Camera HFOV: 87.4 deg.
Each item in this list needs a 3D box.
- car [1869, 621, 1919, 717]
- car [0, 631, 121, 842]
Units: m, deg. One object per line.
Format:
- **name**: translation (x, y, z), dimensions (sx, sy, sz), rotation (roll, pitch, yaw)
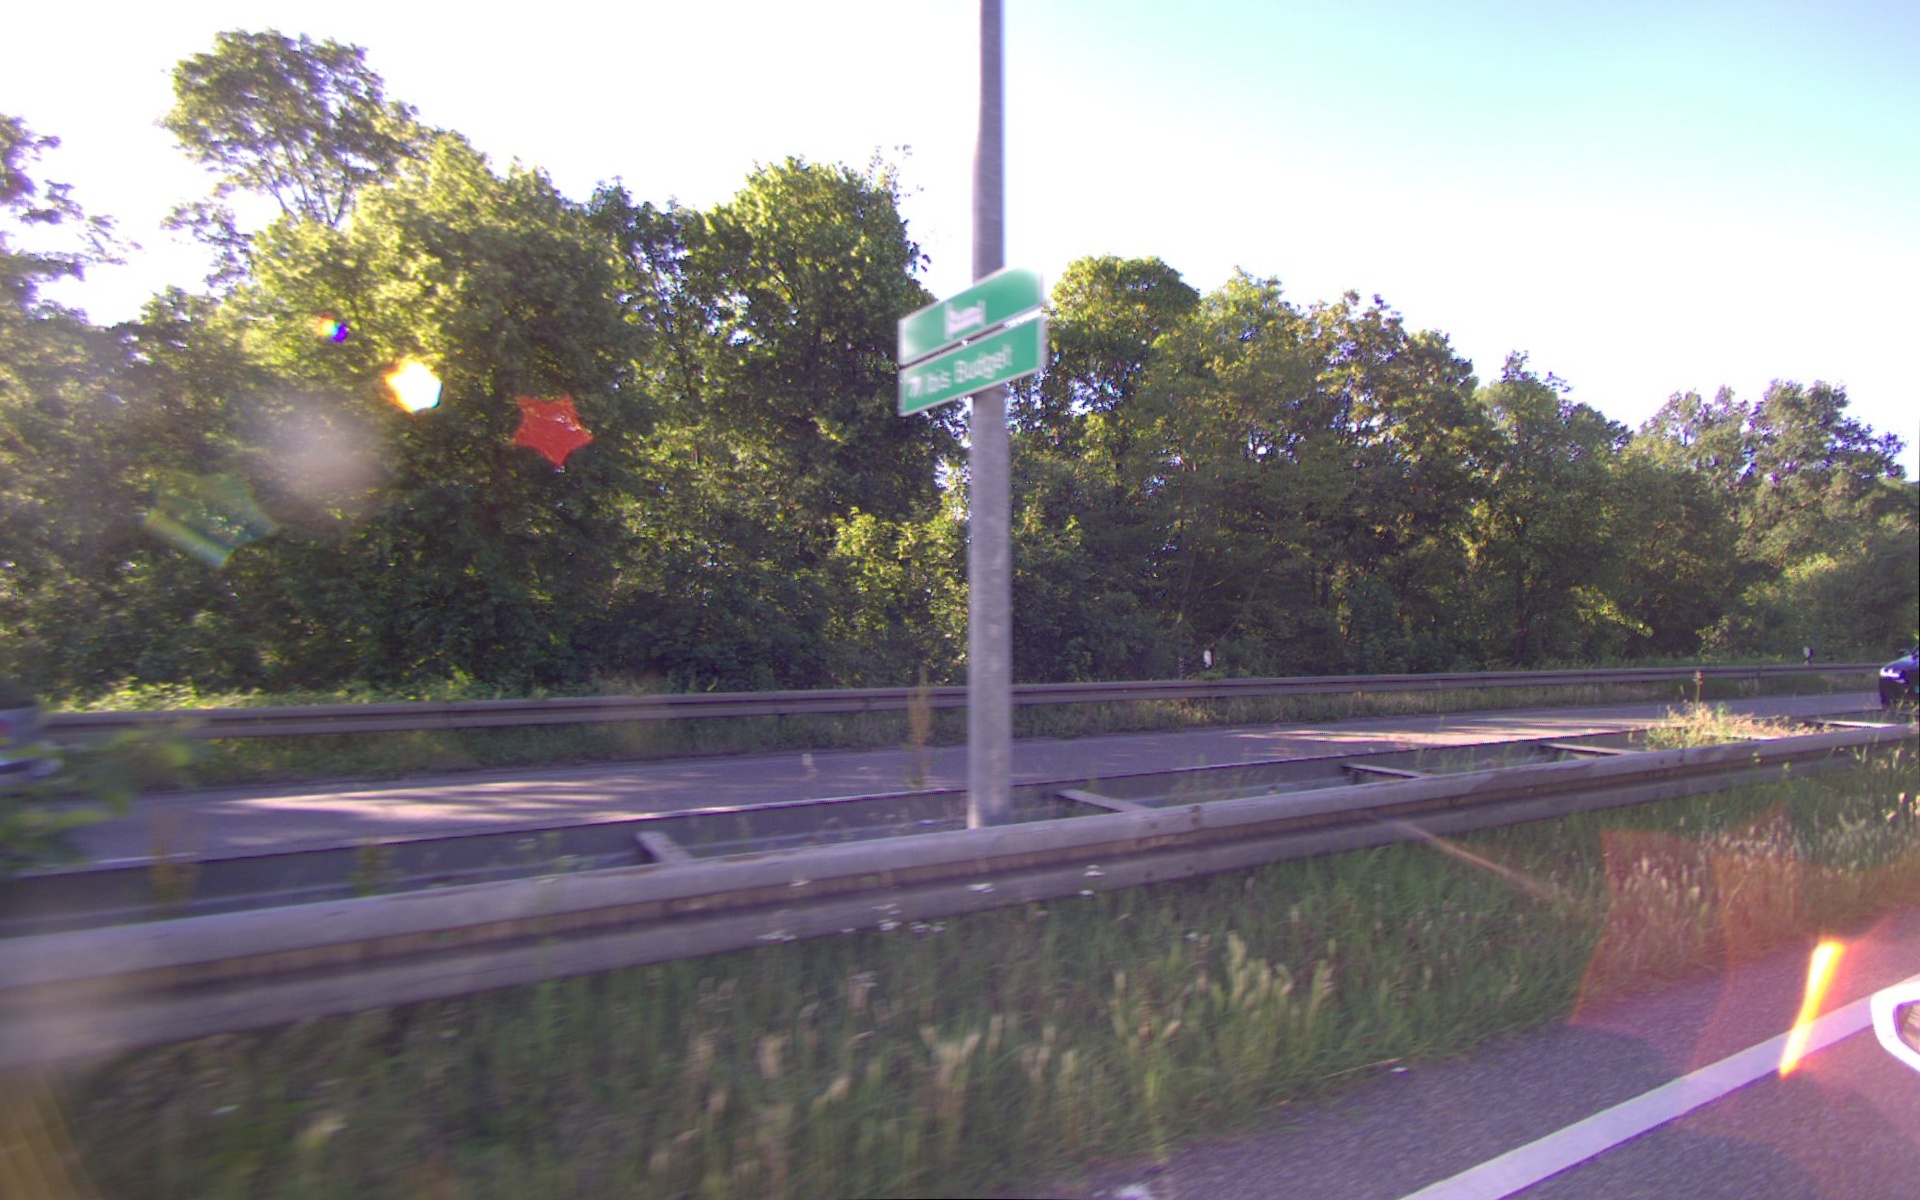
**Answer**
- **car**: translation (19.397, 1.280, 19.173), dimensions (4.493, 1.733, 1.777), rotation (1, -2, -30)
- **car**: translation (-8.473, 0.978, 7.036), dimensions (3.669, 1.469, 1.744), rotation (1, -3, -29)
